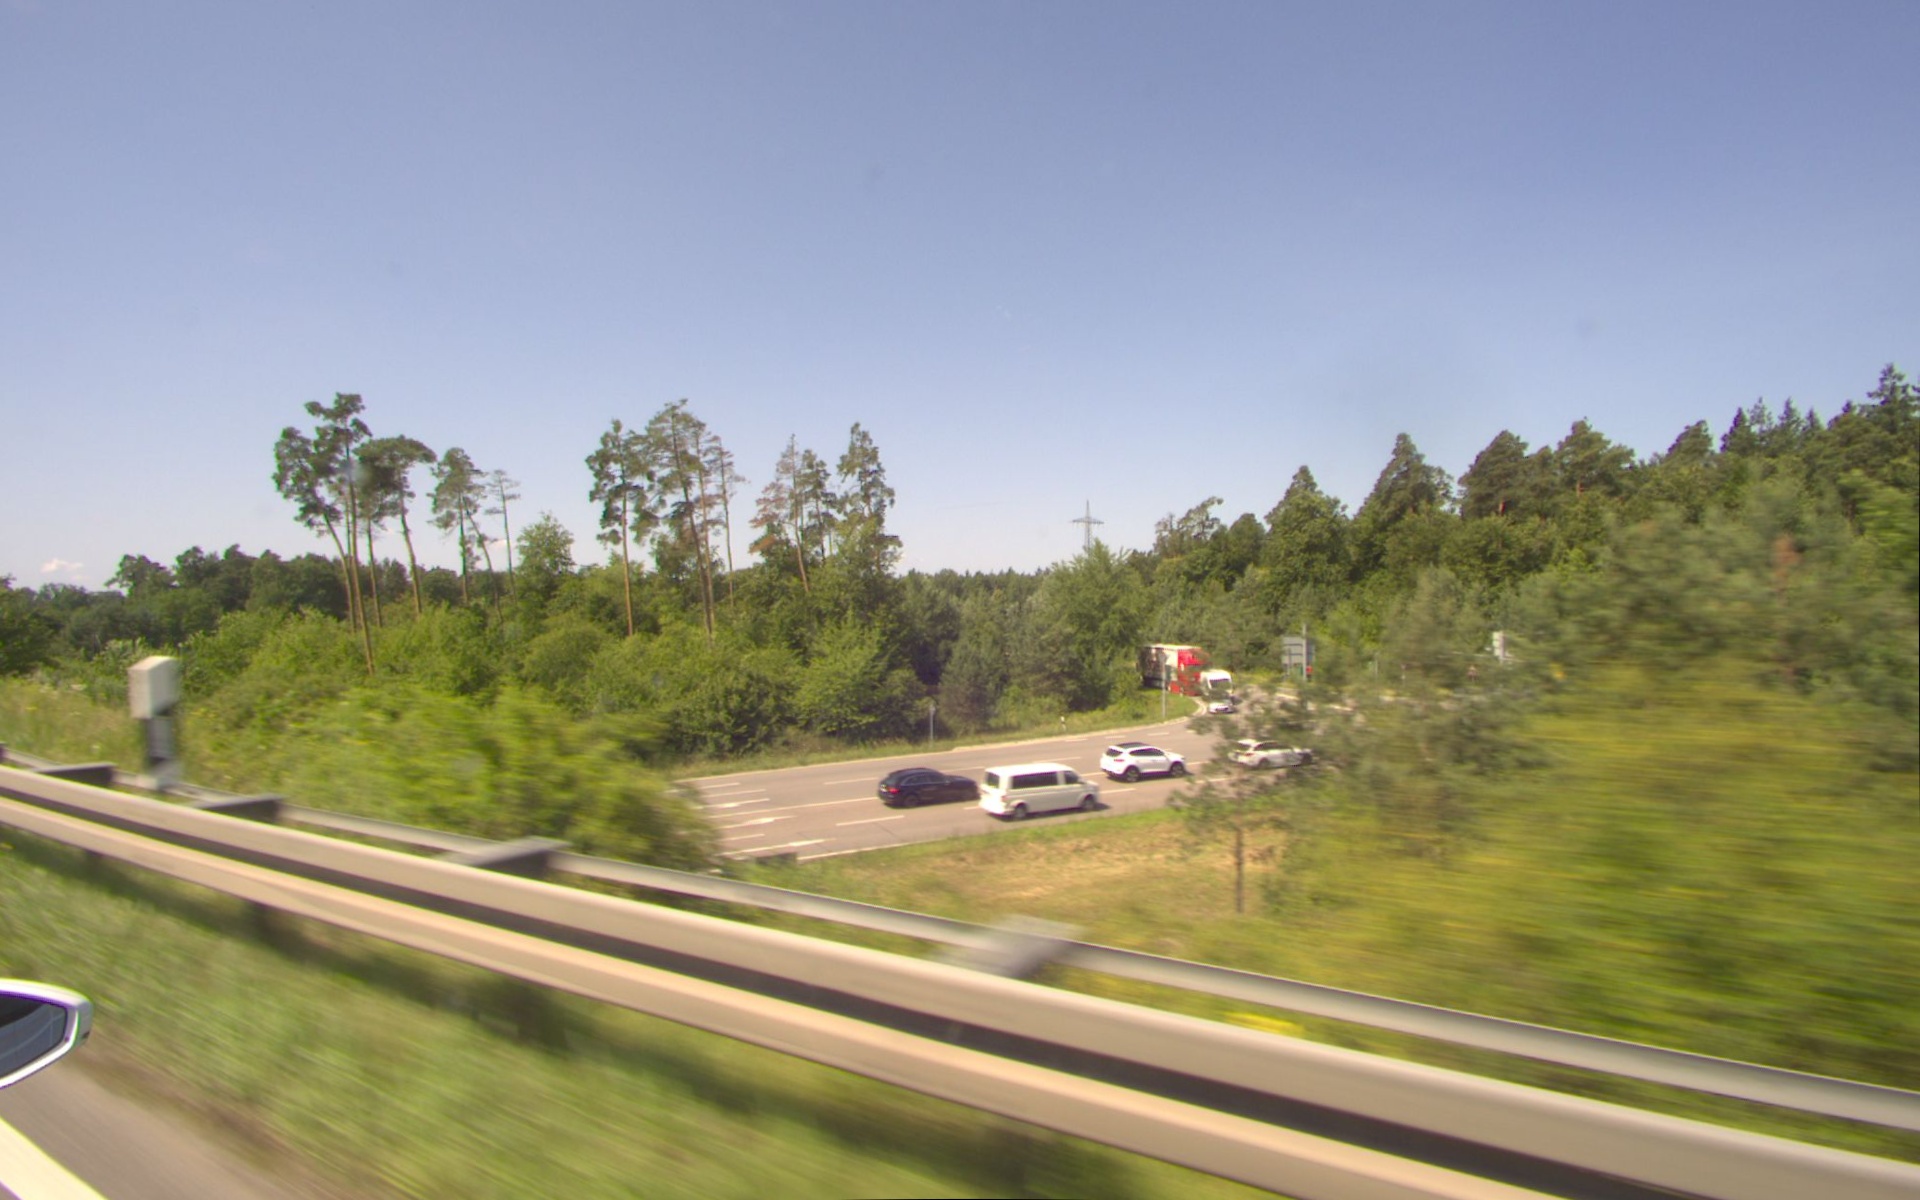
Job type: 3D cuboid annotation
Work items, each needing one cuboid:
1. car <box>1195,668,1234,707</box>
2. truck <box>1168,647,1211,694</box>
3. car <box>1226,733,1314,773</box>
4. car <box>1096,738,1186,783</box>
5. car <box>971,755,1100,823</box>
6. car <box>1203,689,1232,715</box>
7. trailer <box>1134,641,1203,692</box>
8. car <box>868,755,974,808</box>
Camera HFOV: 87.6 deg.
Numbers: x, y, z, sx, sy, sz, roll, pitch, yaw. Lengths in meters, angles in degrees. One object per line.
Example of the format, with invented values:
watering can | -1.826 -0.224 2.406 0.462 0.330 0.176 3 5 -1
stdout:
car | 20.363 7.004 80.392 1.961 2.567 5.438 3 0 3
truck | 20.130 6.143 88.078 2.188 3.705 4.420 3 1 -7
car | 16.115 7.902 52.028 4.326 1.461 1.694 -1 3 -24
car | 8.896 7.863 49.319 4.066 1.655 1.750 0 3 -24
car | 3.192 7.868 42.046 5.153 1.992 1.897 0 3 -26
car | 18.977 7.496 73.893 1.732 1.463 3.777 3 0 9
trailer | 19.407 6.089 94.320 2.217 3.704 13.153 3 0 -7
car | -1.704 7.948 44.045 4.298 1.655 1.750 0 3 -24
